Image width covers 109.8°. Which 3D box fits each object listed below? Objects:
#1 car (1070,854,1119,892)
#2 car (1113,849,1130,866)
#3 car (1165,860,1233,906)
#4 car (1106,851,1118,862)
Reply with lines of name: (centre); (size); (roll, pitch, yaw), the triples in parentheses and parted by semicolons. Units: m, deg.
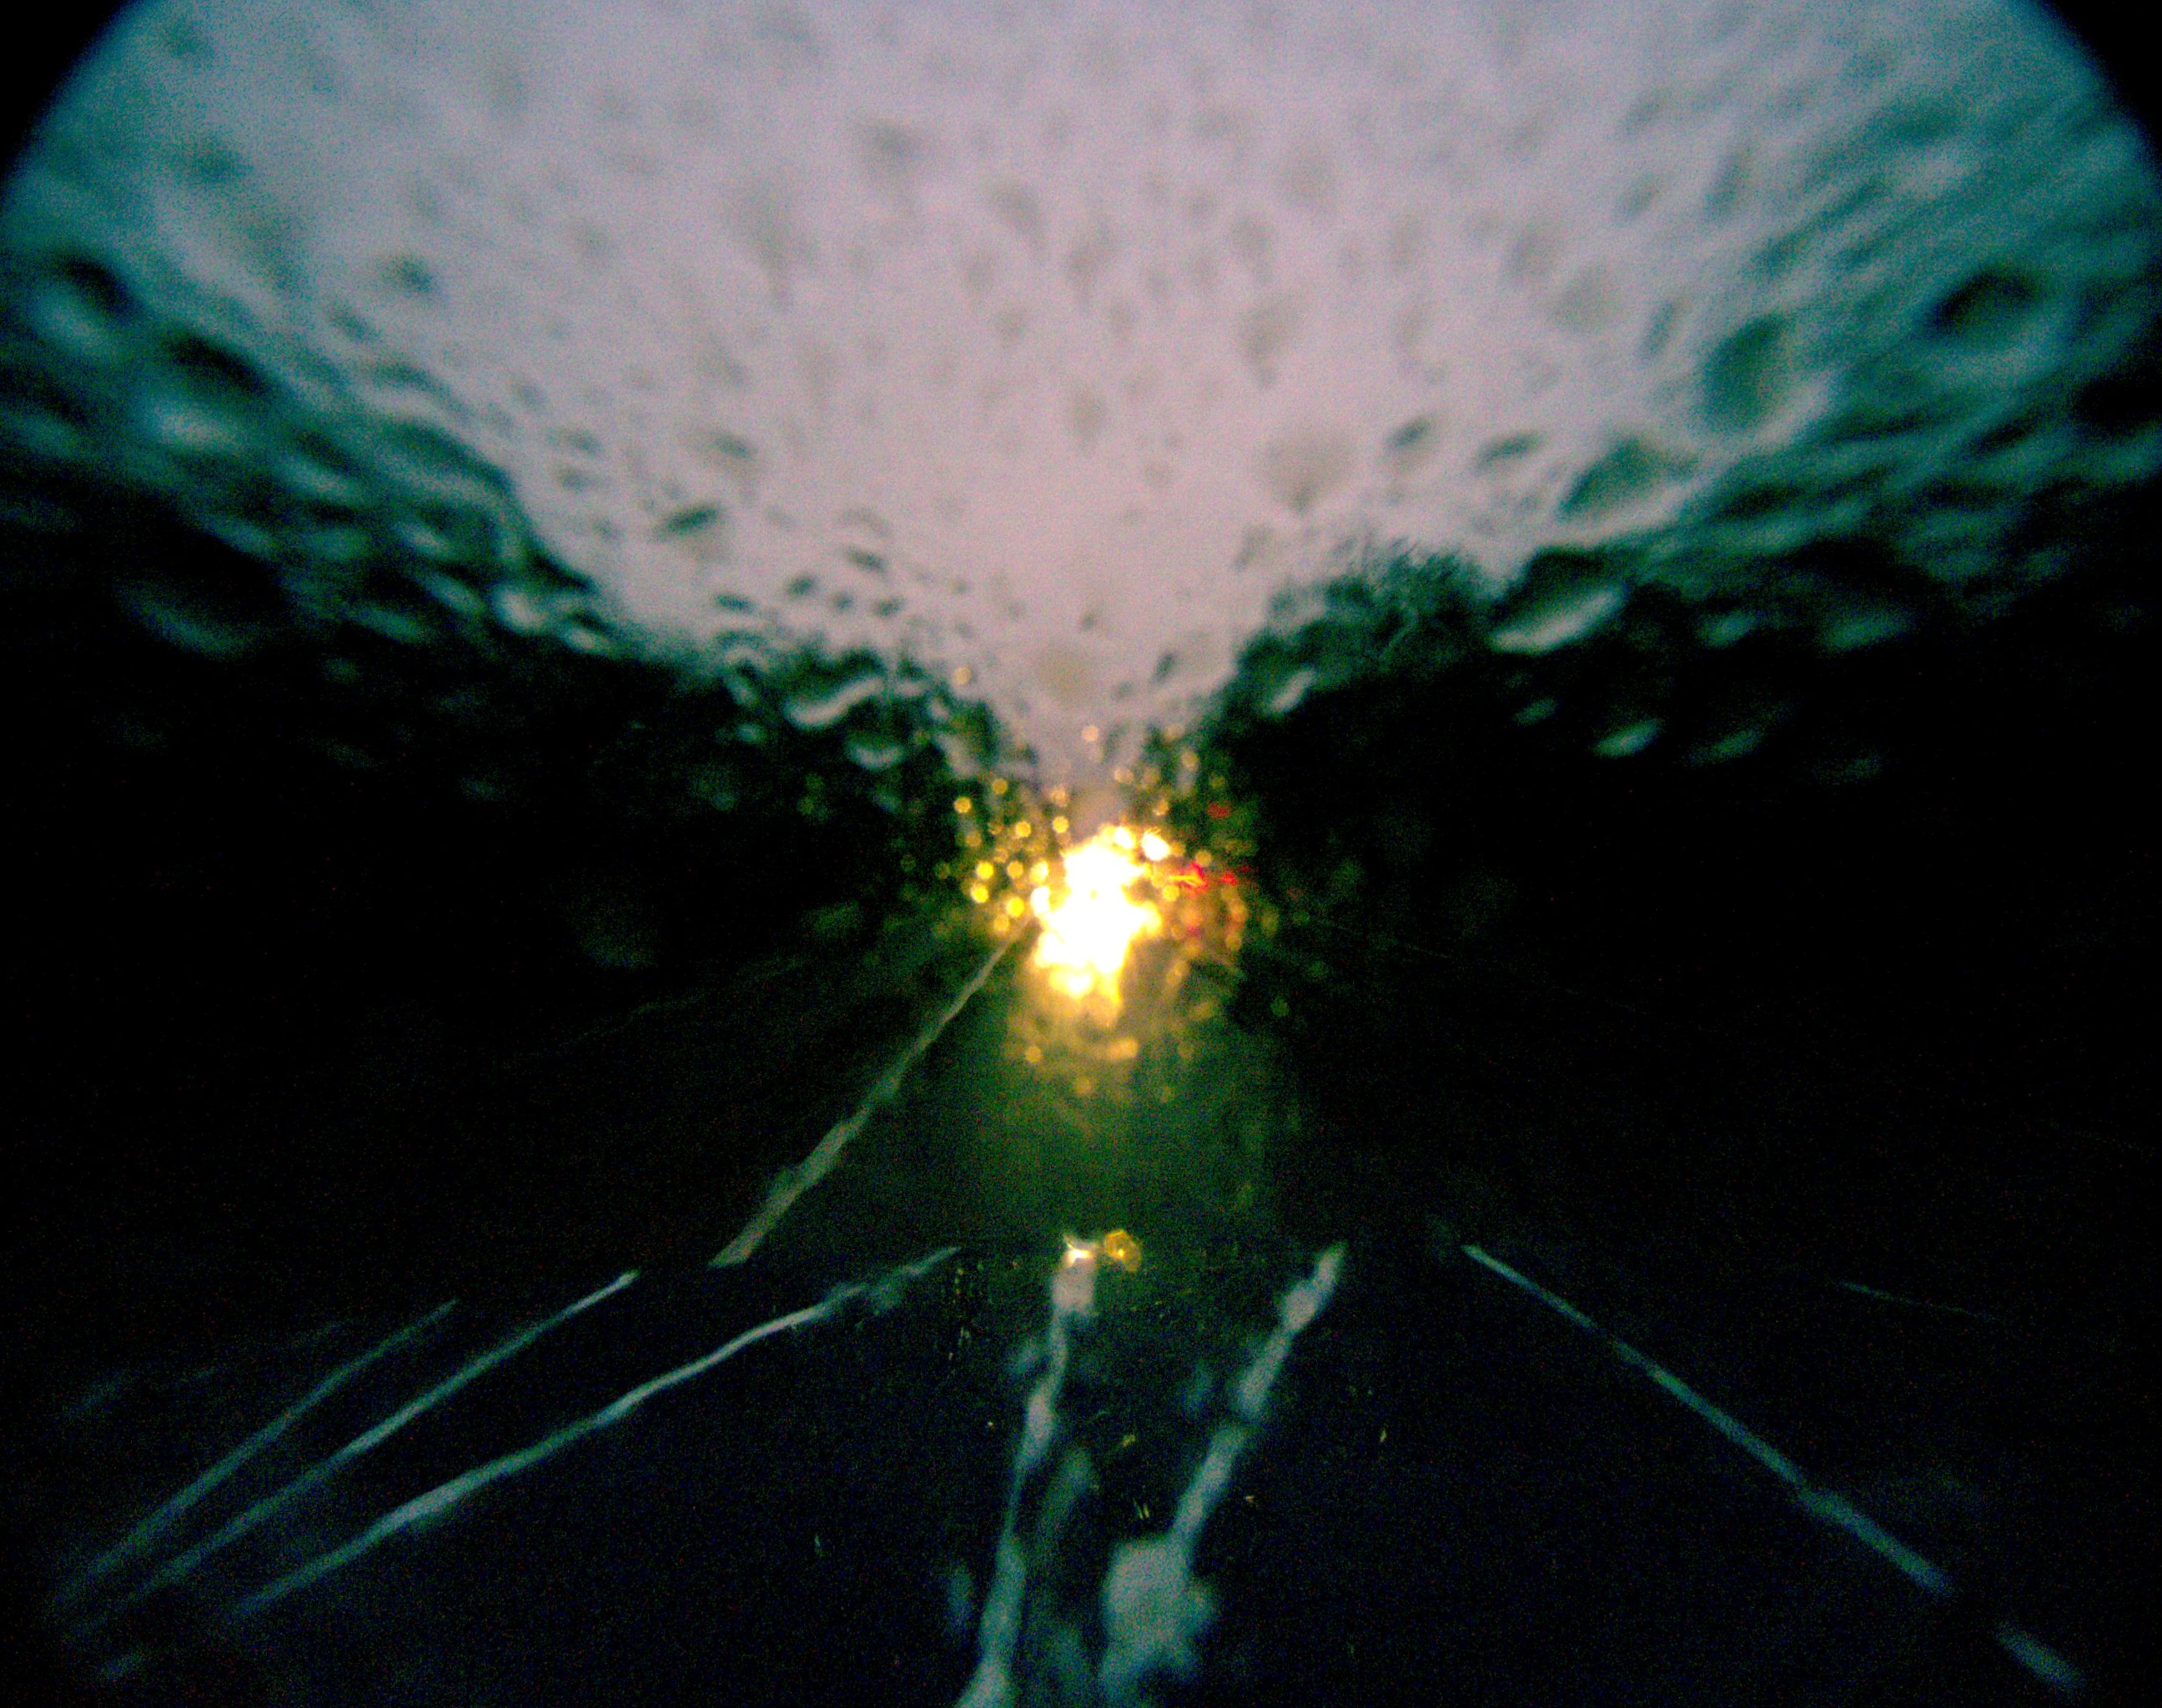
car: (0.544, 0.735, 30.743); (1.845, 1.390, 4.000); (-1, 0, 1)
car: (4.485, 0.359, 84.462); (1.710, 1.812, 4.285); (-1, 1, 1)
car: (3.894, 0.901, 25.668); (1.623, 1.381, 4.071); (-1, 0, 0)
car: (4.564, 0.418, 112.754); (1.585, 1.541, 3.999); (-2, 1, 0)
